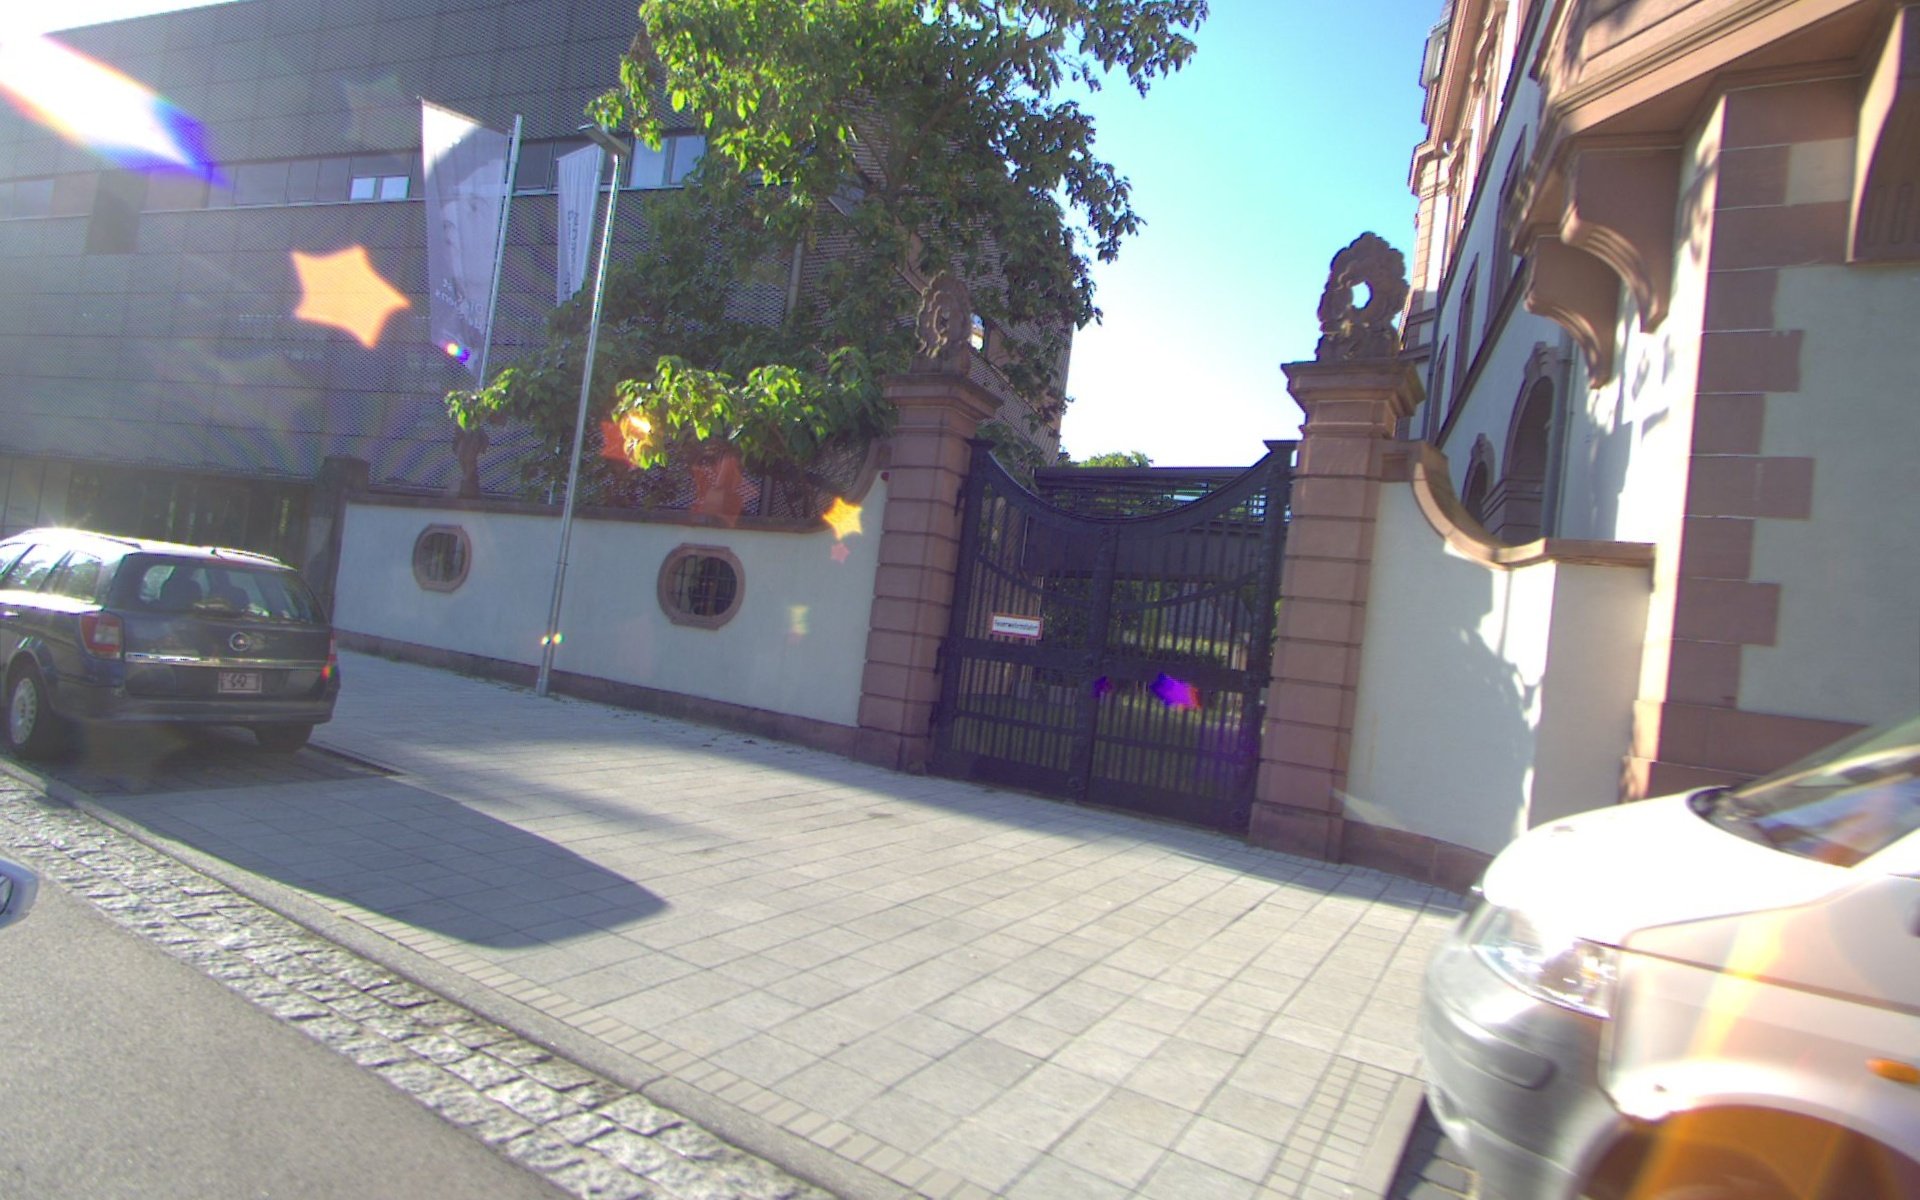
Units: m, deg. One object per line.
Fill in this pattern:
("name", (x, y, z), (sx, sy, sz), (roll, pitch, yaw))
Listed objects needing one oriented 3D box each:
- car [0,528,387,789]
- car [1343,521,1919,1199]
("car", (-6.674, 0.283, 7.865), (4.402, 1.484, 1.750), (5, -1, 30))
("car", (3.570, 1.020, 2.074), (4.773, 1.991, 1.993), (5, 0, 35))
